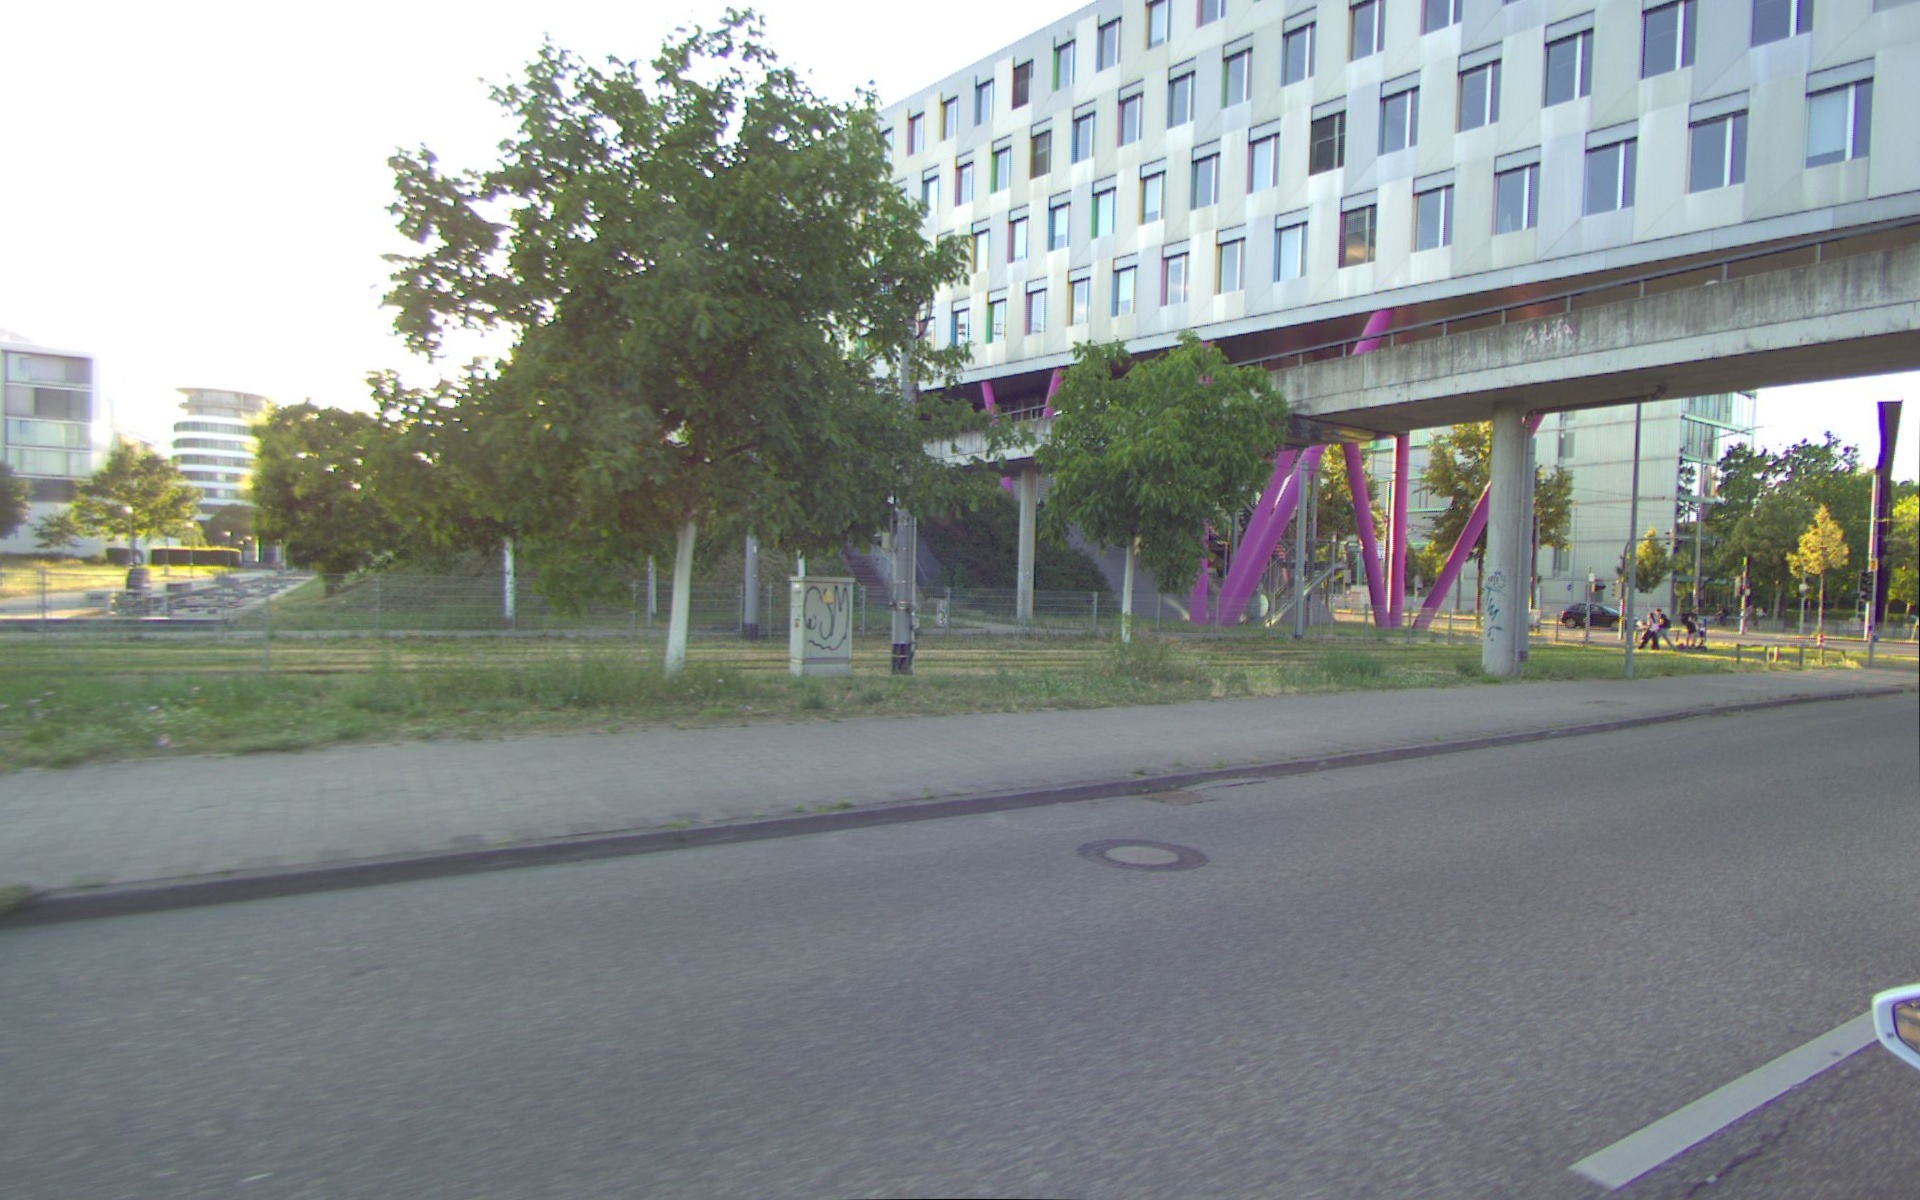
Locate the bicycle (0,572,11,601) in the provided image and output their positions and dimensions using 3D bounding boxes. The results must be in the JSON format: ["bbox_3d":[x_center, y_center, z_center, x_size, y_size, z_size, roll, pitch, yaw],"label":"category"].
[{"bbox_3d":[-30.037,-0.426,31.266,0.426,0.912,1.226,0,2,-29],"label":"bicycle"}]

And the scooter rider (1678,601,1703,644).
[{"bbox_3d":[31.179,0.953,42.853,0.438,1.807,0.701,0,2,-34],"label":"scooter rider"}]

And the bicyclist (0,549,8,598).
[{"bbox_3d":[-30.046,-0.834,31.283,0.419,1.515,0.510,0,2,-29],"label":"bicyclist"}]

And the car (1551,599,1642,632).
[{"bbox_3d":[40.089,0.927,63.360,1.923,1.841,4.442,0,2,-32],"label":"car"}]

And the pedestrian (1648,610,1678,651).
[{"bbox_3d":[29.118,1.261,41.610,0.700,1.686,0.700,0,2,-14],"label":"pedestrian"}]

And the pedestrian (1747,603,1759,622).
[{"bbox_3d":[85.160,1.338,107.832,0.686,2.041,0.696,1,2,-11],"label":"pedestrian"}]

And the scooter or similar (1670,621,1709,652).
[{"bbox_3d":[31.149,1.544,42.886,0.498,1.217,1.205,0,2,-34],"label":"scooter or similar"}]

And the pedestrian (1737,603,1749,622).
[{"bbox_3d":[83.928,1.319,107.620,0.686,2.041,0.696,1,2,-11],"label":"pedestrian"}]

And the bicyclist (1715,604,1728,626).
[{"bbox_3d":[62.872,1.255,82.953,0.746,1.746,0.550,2,2,34],"label":"bicyclist"}]

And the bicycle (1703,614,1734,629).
[{"bbox_3d":[62.732,1.796,83.075,1.936,1.143,0.558,2,2,34],"label":"bicycle"}]

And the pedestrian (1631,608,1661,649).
[{"bbox_3d":[28.335,1.173,41.488,0.700,1.646,0.686,0,2,-14],"label":"pedestrian"}]
